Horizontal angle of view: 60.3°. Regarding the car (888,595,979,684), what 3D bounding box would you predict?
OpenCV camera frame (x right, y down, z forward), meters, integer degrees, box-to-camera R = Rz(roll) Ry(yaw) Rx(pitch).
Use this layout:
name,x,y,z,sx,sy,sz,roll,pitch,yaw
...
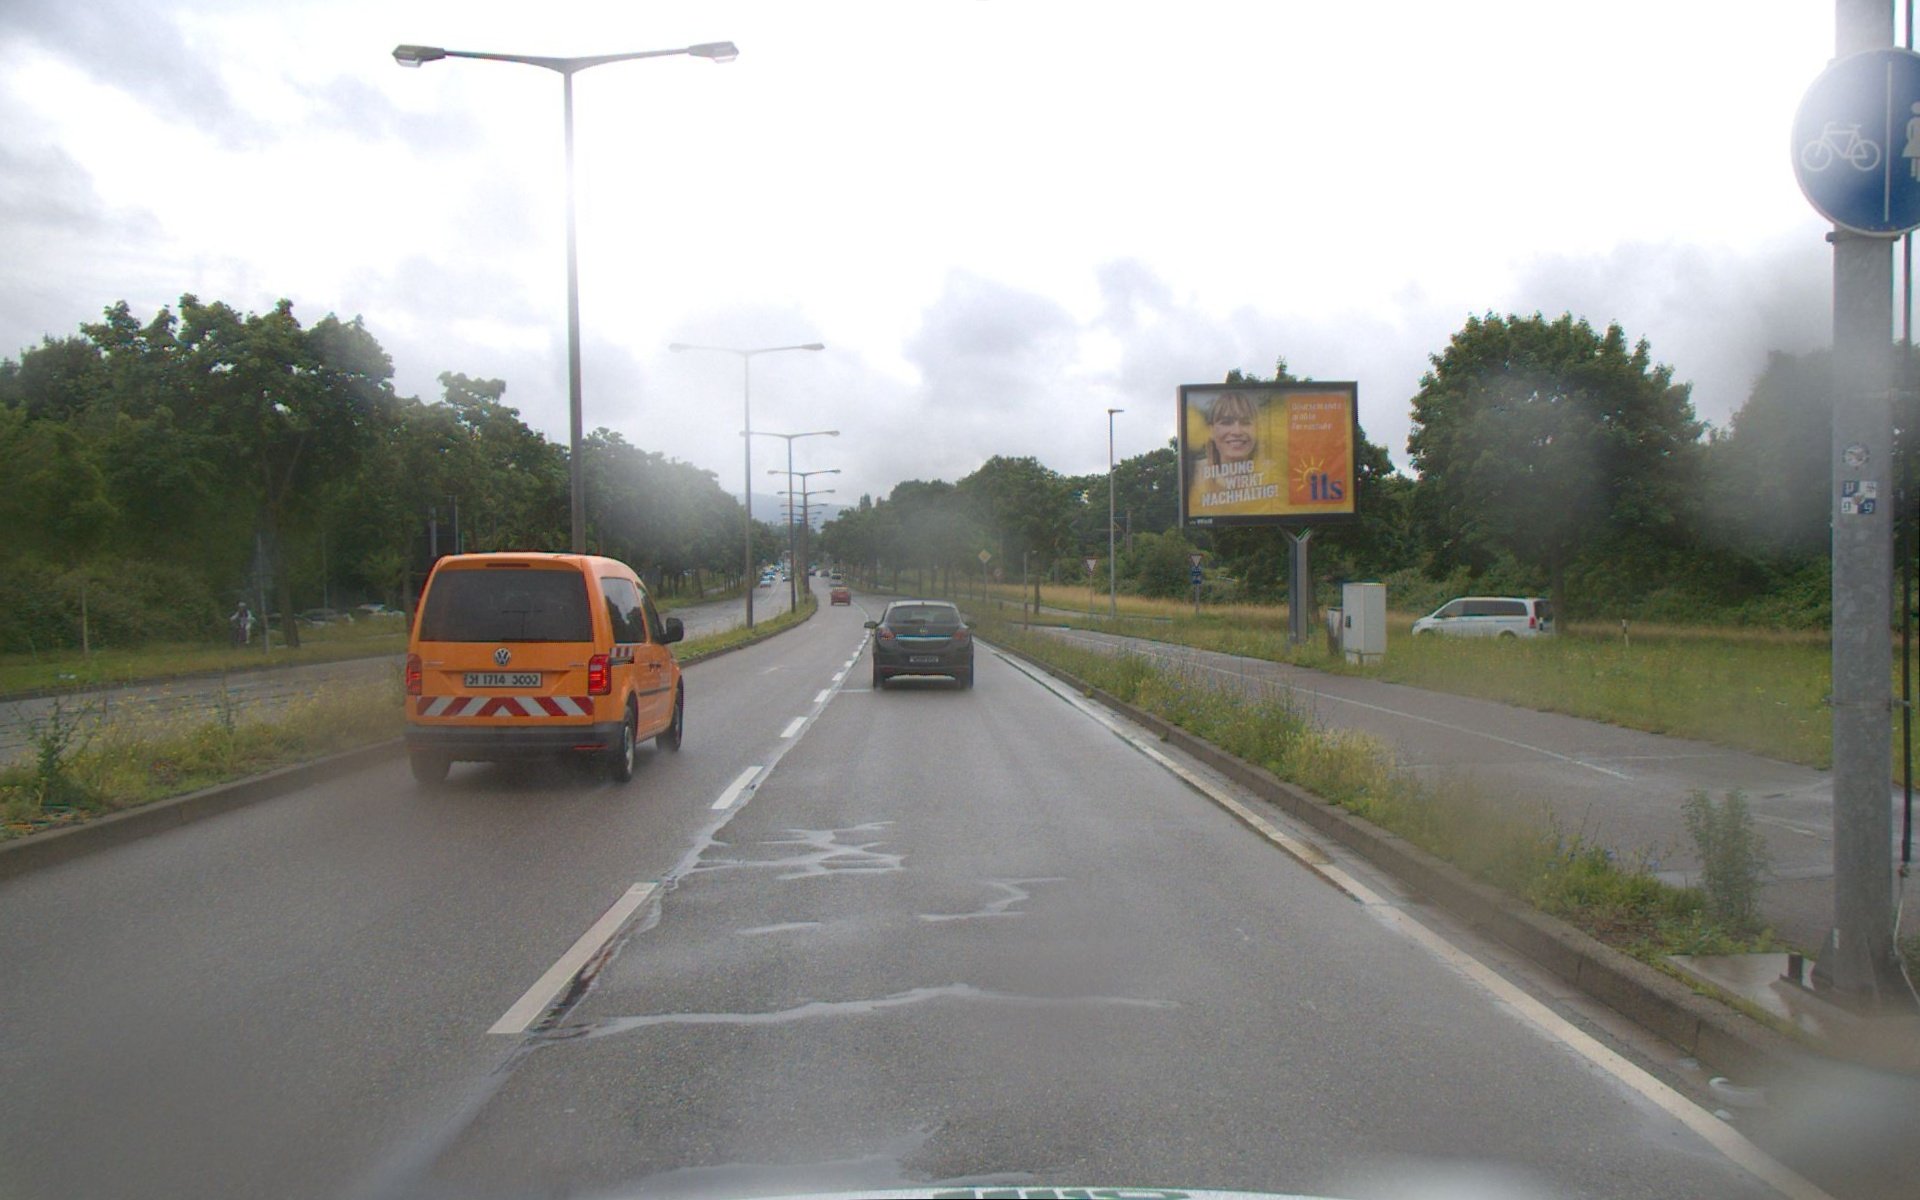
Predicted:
name,x,y,z,sx,sy,sz,roll,pitch,yaw
car,-0.483,0.628,28.266,1.433,1.352,3.757,0,1,-2

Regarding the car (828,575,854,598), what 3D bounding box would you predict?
name,x,y,z,sx,sy,sz,roll,pitch,yaw
car,-9.989,-1.102,138.814,1.953,1.912,3.999,0,0,-2

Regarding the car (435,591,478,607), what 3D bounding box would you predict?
name,x,y,z,sx,sy,sz,roll,pitch,yaw
car,-47.078,-0.097,154.641,3.665,1.451,1.485,-1,1,-10

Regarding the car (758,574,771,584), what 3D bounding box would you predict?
name,x,y,z,sx,sy,sz,roll,pitch,yaw
car,-29.754,-3.211,251.921,1.649,1.581,3.998,1,0,-3

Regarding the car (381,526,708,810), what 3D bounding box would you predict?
name,x,y,z,sx,sy,sz,roll,pitch,yaw
car,-3.405,0.491,14.521,1.699,2.054,4.848,1,0,-1

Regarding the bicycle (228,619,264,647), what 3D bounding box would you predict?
name,x,y,z,sx,sy,sz,roll,pitch,yaw
bicycle,-23.893,1.089,55.380,0.511,0.901,1.633,0,0,-2

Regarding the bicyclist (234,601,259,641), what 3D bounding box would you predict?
name,x,y,z,sx,sy,sz,roll,pitch,yaw
bicyclist,-23.890,0.701,55.385,0.511,1.325,0.808,0,0,-2

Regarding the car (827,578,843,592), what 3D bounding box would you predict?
name,x,y,z,sx,sy,sz,roll,pitch,yaw
car,-19.475,-2.326,257.840,2.467,2.088,5.287,-1,0,-5

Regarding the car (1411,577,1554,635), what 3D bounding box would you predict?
name,x,y,z,sx,sy,sz,roll,pitch,yaw
car,18.857,0.181,59.759,4.528,2.009,2.053,0,0,43
